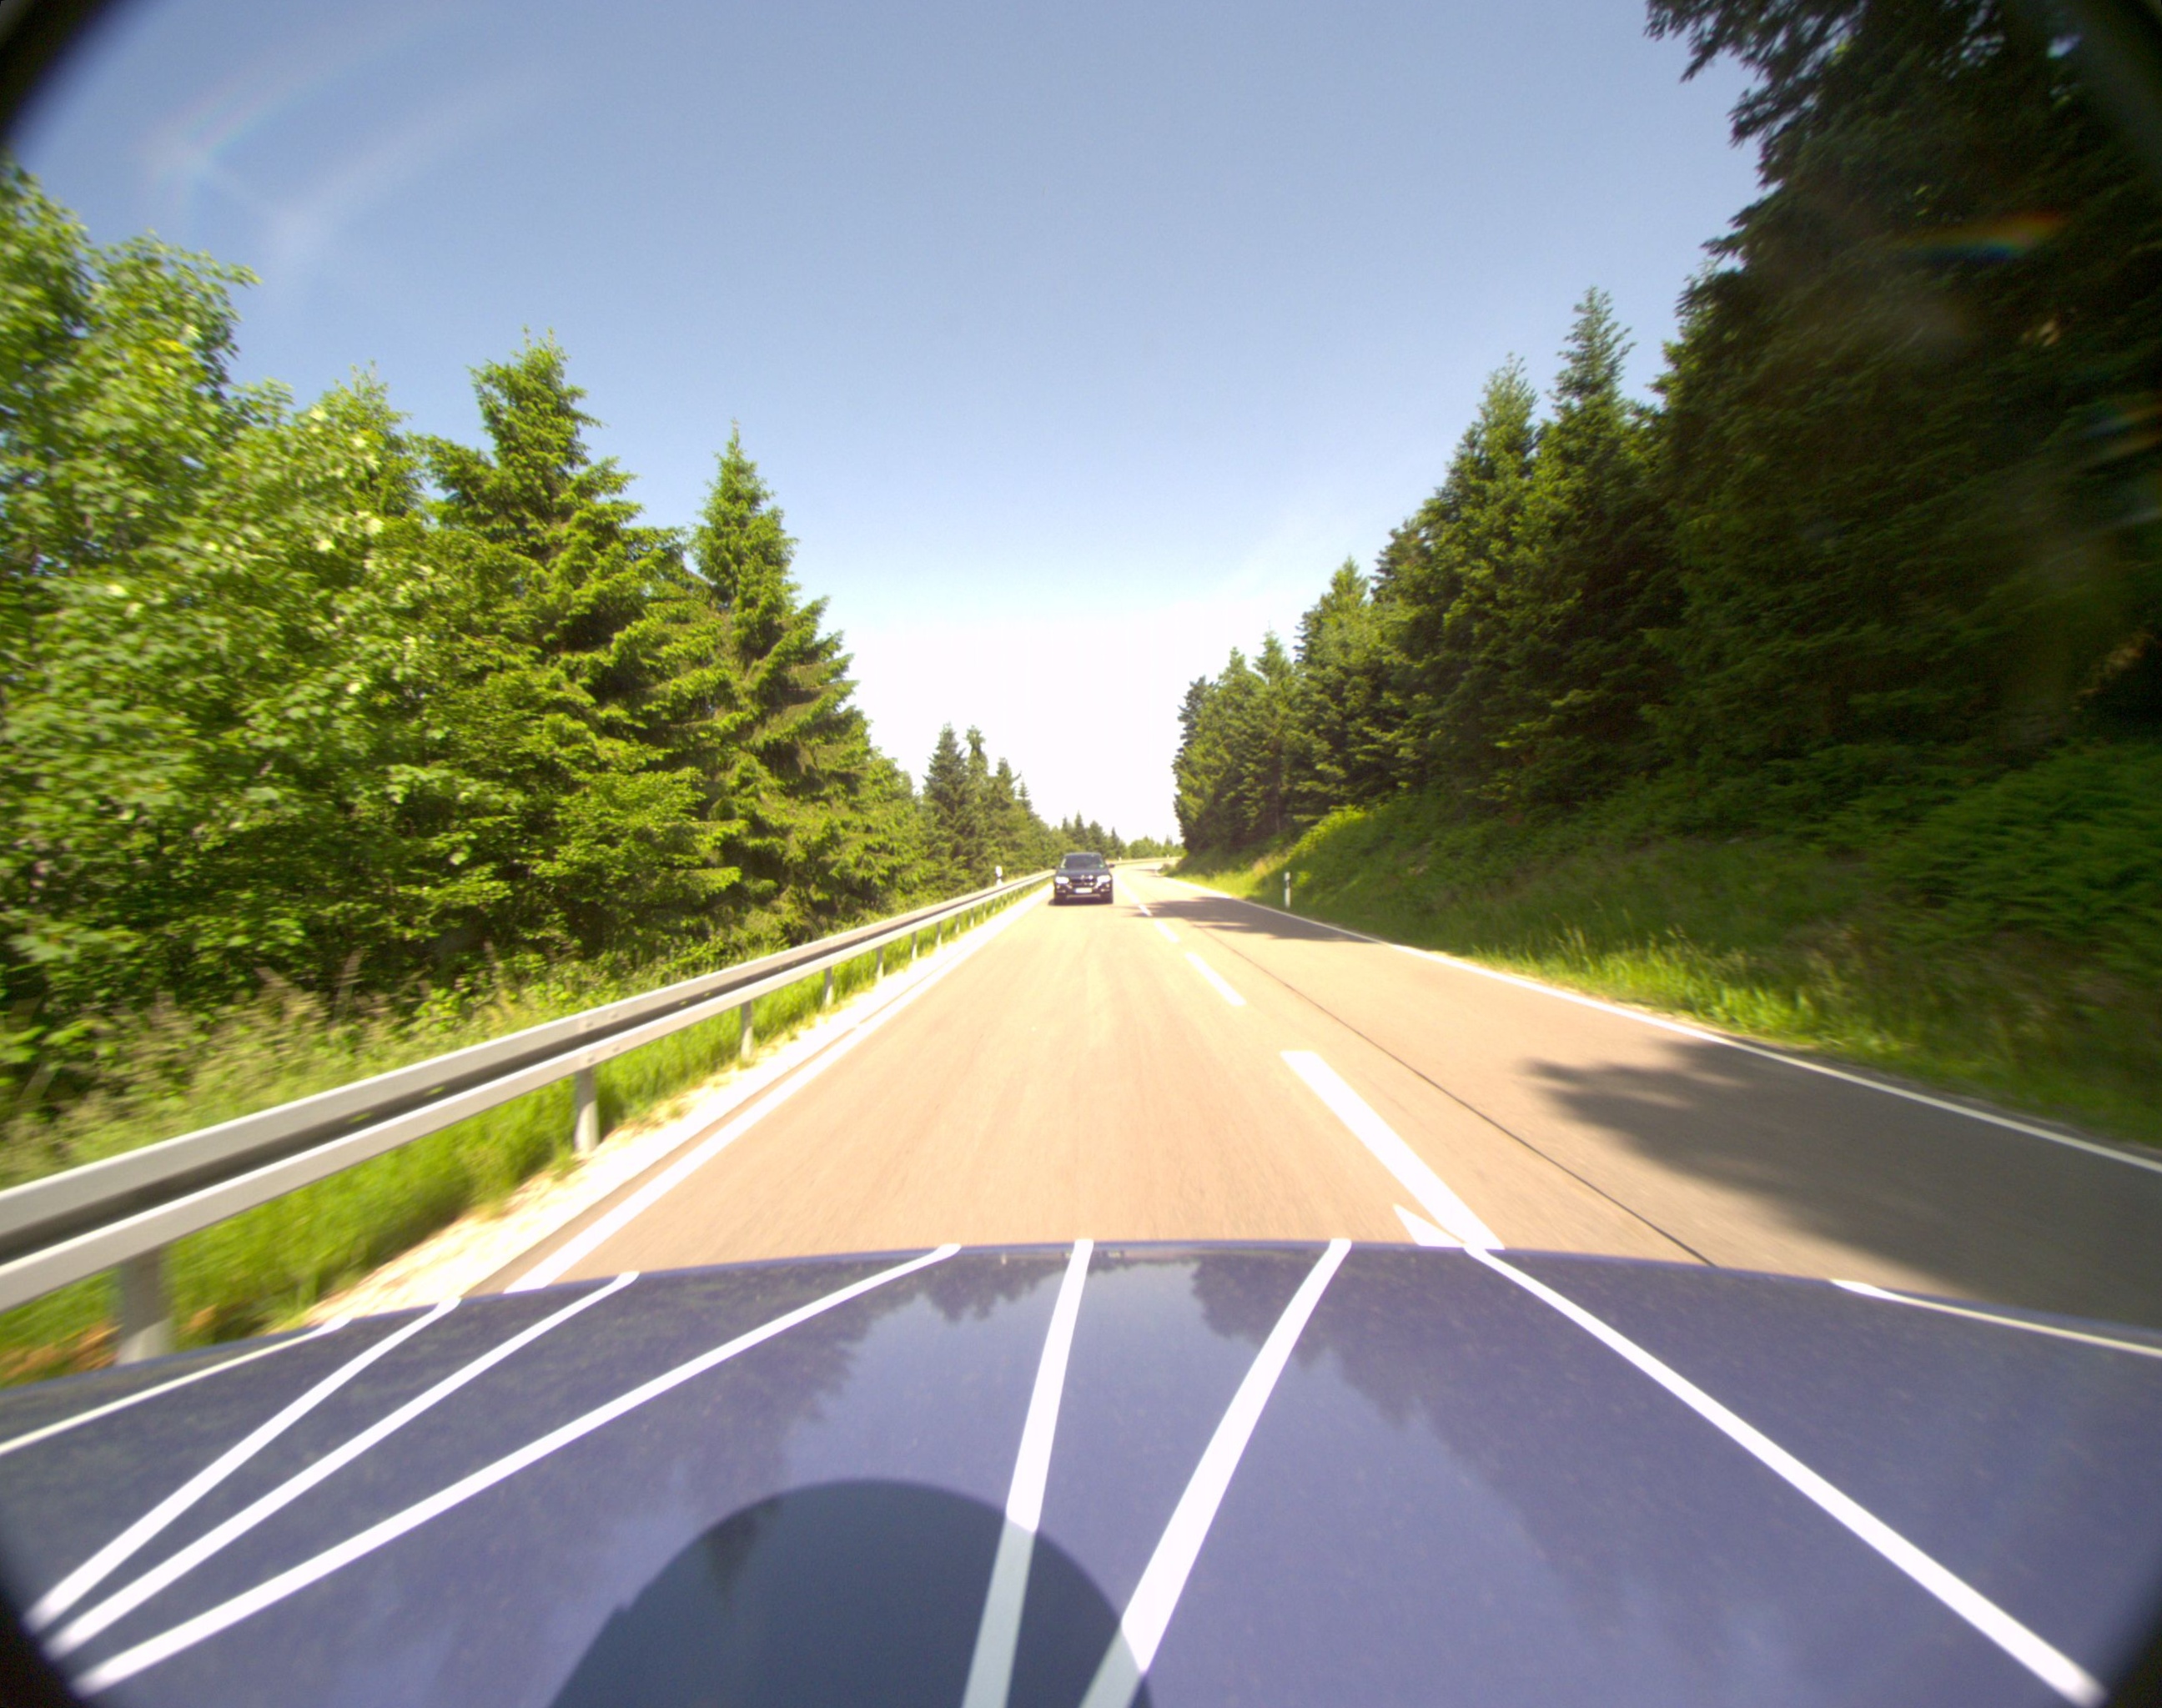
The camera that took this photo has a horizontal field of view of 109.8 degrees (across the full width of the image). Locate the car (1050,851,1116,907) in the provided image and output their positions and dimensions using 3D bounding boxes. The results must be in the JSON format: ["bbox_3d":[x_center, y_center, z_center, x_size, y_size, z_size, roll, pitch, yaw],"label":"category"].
[{"bbox_3d":[0.029,0.828,26.957,1.999,1.676,5.936,-3,0,-1],"label":"car"}]
